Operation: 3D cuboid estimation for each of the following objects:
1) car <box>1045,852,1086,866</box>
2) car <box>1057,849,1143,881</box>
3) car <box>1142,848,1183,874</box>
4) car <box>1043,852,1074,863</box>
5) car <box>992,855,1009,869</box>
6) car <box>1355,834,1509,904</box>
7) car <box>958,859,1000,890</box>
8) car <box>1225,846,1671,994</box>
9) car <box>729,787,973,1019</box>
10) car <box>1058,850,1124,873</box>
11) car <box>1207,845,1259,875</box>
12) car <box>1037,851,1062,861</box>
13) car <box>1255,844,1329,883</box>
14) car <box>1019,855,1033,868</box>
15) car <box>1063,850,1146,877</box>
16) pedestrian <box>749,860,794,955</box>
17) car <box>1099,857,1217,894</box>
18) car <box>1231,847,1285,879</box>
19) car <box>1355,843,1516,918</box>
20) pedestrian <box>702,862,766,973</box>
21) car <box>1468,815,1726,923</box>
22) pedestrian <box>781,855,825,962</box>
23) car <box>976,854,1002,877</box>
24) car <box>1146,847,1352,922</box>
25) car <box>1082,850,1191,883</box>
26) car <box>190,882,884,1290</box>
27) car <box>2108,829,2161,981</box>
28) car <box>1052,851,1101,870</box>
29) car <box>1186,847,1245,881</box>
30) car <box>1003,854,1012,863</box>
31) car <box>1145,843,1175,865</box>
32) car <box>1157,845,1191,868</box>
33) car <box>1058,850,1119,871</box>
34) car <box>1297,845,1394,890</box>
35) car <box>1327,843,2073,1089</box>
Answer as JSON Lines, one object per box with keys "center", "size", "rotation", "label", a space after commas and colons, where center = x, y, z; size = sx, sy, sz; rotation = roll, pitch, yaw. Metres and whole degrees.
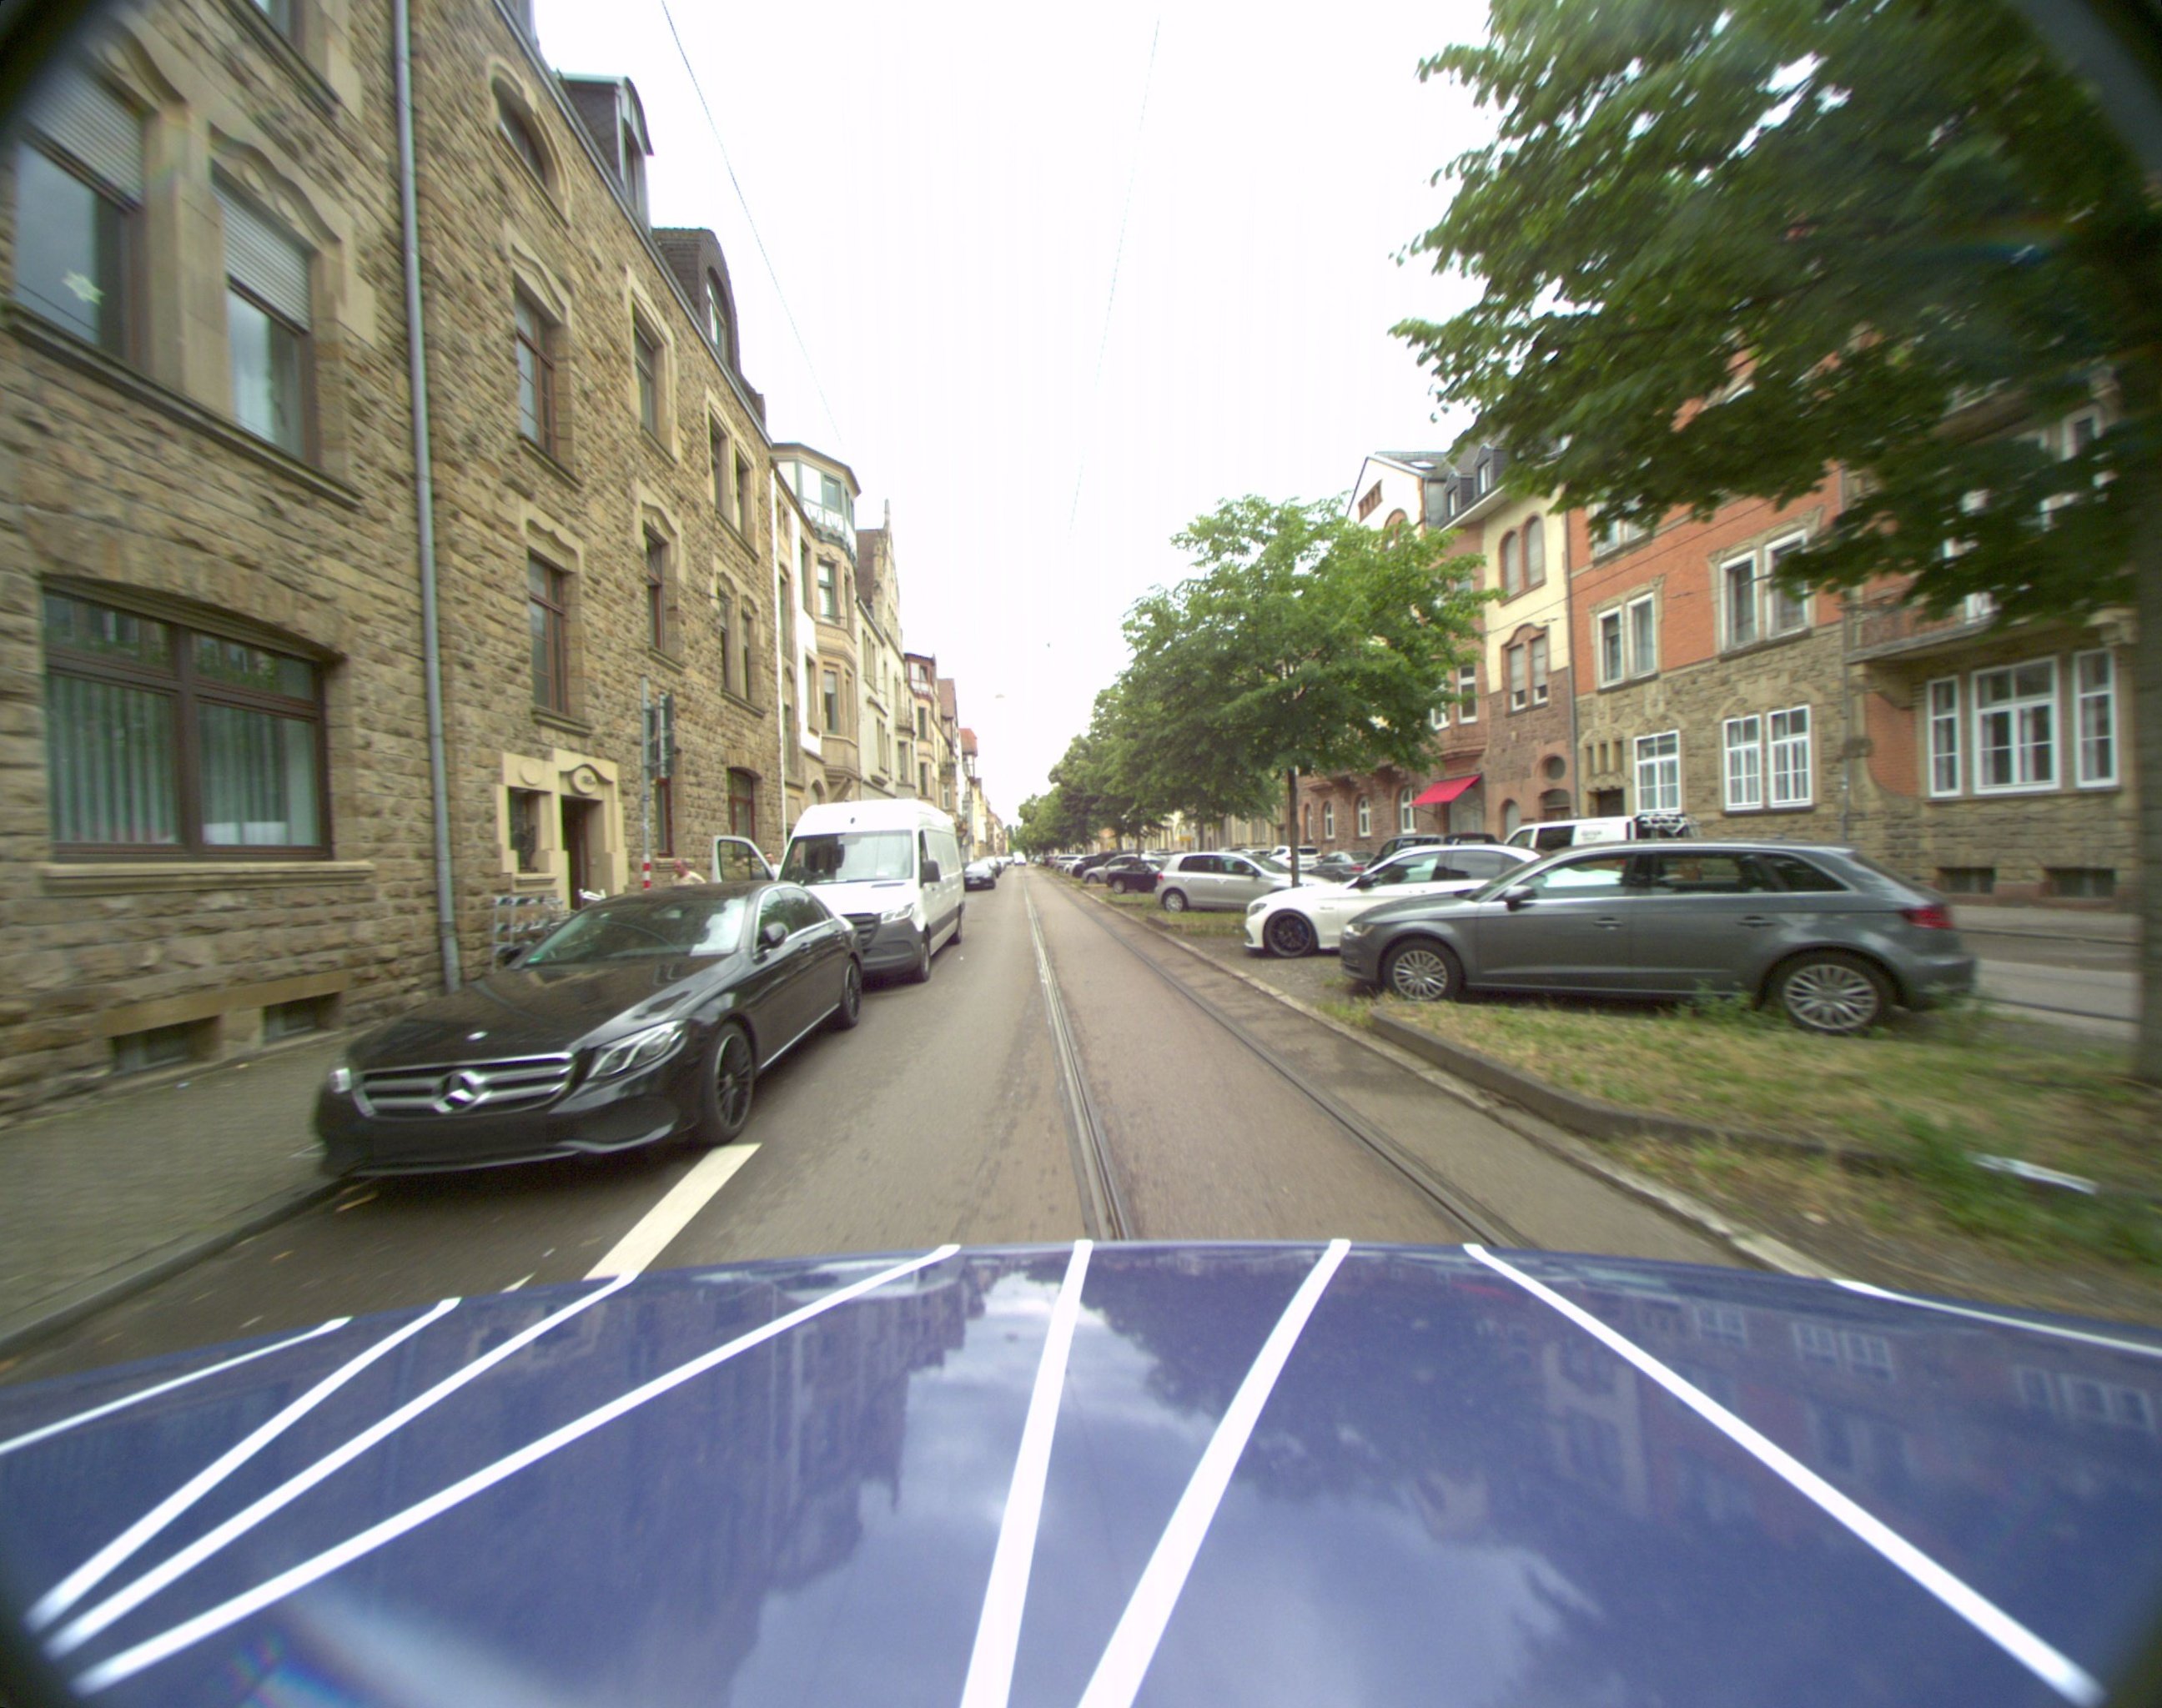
{"center": [-1.831, 0.567, 87.456], "size": [4.595, 1.458, 1.889], "rotation": [-2, 1, 41], "label": "car"}
{"center": [0.995, 0.613, 41.241], "size": [4.520, 1.624, 1.769], "rotation": [-2, 1, 40], "label": "car"}
{"center": [5.308, 0.421, 50.035], "size": [1.810, 1.570, 4.544], "rotation": [-2, 1, -5], "label": "car"}
{"center": [-3.113, 0.542, 105.070], "size": [3.989, 1.407, 1.902], "rotation": [-2, -1, 34], "label": "car"}
{"center": [-9.658, 0.952, 91.086], "size": [1.794, 1.504, 4.212], "rotation": [-5, 0, -4], "label": "car"}
{"center": [10.204, 0.371, 22.630], "size": [1.819, 1.771, 5.114], "rotation": [-2, 1, -5], "label": "car"}
{"center": [-5.187, 0.998, 39.130], "size": [1.806, 1.430, 5.193], "rotation": [-2, 0, -5], "label": "car"}
{"center": [4.398, 0.701, 9.573], "size": [4.675, 1.426, 1.902], "rotation": [-2, 0, 35], "label": "car"}
{"center": [-3.120, 0.545, 12.199], "size": [2.019, 2.534, 7.013], "rotation": [-4, 0, -3], "label": "car"}
{"center": [0.648, 0.515, 51.481], "size": [4.119, 1.304, 1.867], "rotation": [-3, 1, 39], "label": "car"}
{"center": [8.818, 0.331, 44.475], "size": [1.774, 1.619, 4.318], "rotation": [-2, 1, -5], "label": "car"}
{"center": [-5.671, 0.393, 136.539], "size": [3.990, 1.602, 1.902], "rotation": [-2, -1, 26], "label": "car"}
{"center": [9.597, 0.385, 34.988], "size": [1.745, 1.617, 4.551], "rotation": [-2, 1, -5], "label": "car"}
{"center": [-8.747, 1.194, 120.239], "size": [1.999, 2.002, 3.998], "rotation": [-2, 1, -5], "label": "car"}
{"center": [1.345, 0.565, 44.504], "size": [4.529, 1.482, 2.040], "rotation": [-2, 1, 40], "label": "car"}
{"center": [-5.680, 0.958, 13.944], "size": [0.706, 1.690, 0.492], "rotation": [0, 1, -32], "label": "pedestrian"}
{"center": [2.741, 0.776, 27.534], "size": [3.952, 1.195, 1.671], "rotation": [-2, 1, 39], "label": "car"}
{"center": [9.222, 0.430, 39.851], "size": [1.667, 1.551, 3.720], "rotation": [-2, 1, -5], "label": "car"}
{"center": [8.101, 0.537, 17.772], "size": [1.649, 1.495, 3.881], "rotation": [-2, 1, -5], "label": "car"}
{"center": [-5.464, 0.978, 12.007], "size": [0.866, 1.690, 0.537], "rotation": [0, 1, -18], "label": "pedestrian"}
{"center": [10.989, 0.253, 16.787], "size": [1.887, 1.941, 5.091], "rotation": [-2, 1, -5], "label": "car"}
{"center": [-4.843, 0.922, 13.262], "size": [0.500, 1.804, 0.802], "rotation": [0, 0, -3], "label": "pedestrian"}
{"center": [-7.024, 0.833, 58.325], "size": [1.764, 1.613, 4.692], "rotation": [-3, 0, -6], "label": "car"}
{"center": [3.717, 0.666, 17.130], "size": [4.106, 1.475, 1.800], "rotation": [-2, 1, 36], "label": "car"}
{"center": [2.451, 0.589, 34.315], "size": [4.655, 1.360, 1.761], "rotation": [-2, 1, 38], "label": "car"}
{"center": [-2.980, 1.091, 5.799], "size": [1.829, 1.442, 5.004], "rotation": [-3, 0, -3], "label": "car"}
{"center": [11.998, 0.499, 6.775], "size": [1.639, 1.541, 2.949], "rotation": [-2, 0, -6], "label": "car"}
{"center": [-0.416, 0.608, 69.641], "size": [4.195, 1.600, 1.728], "rotation": [-1, 2, 37], "label": "car"}
{"center": [6.544, 0.425, 37.402], "size": [1.649, 1.495, 4.619], "rotation": [-2, 1, -5], "label": "car"}
{"center": [-14.219, 0.830, 147.827], "size": [1.676, 1.520, 4.211], "rotation": [-3, 1, -5], "label": "car"}
{"center": [7.099, -0.004, 68.508], "size": [1.856, 1.860, 4.429], "rotation": [-2, 0, -4], "label": "car"}
{"center": [7.444, 0.168, 60.929], "size": [1.810, 1.670, 4.270], "rotation": [-2, 1, -5], "label": "car"}
{"center": [0.526, 0.532, 59.152], "size": [4.552, 1.484, 1.867], "rotation": [-2, 1, 41], "label": "car"}
{"center": [9.913, 0.449, 28.868], "size": [1.745, 1.533, 4.551], "rotation": [-2, 1, -5], "label": "car"}
{"center": [4.591, 0.709, 6.485], "size": [4.328, 1.426, 1.902], "rotation": [-2, 0, 35], "label": "car"}
